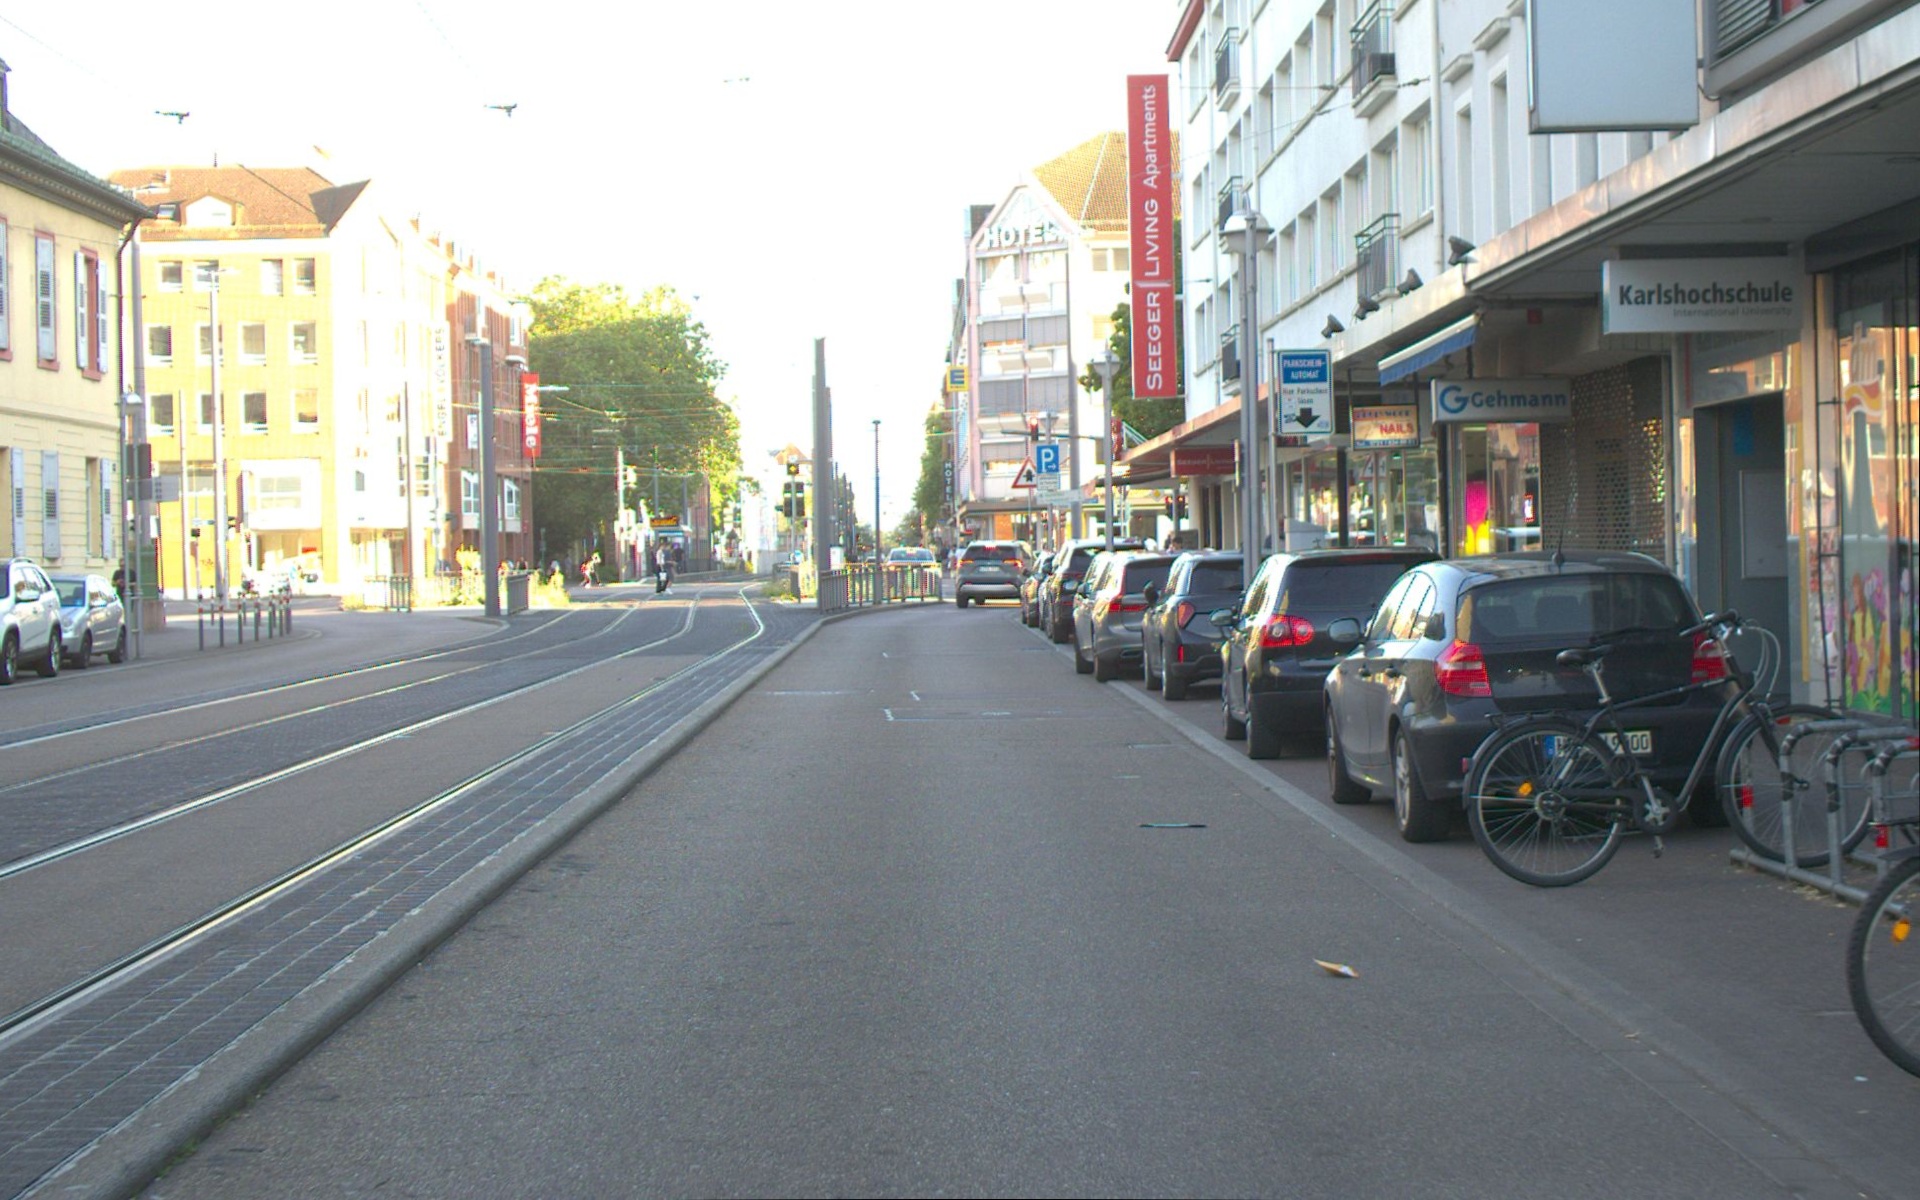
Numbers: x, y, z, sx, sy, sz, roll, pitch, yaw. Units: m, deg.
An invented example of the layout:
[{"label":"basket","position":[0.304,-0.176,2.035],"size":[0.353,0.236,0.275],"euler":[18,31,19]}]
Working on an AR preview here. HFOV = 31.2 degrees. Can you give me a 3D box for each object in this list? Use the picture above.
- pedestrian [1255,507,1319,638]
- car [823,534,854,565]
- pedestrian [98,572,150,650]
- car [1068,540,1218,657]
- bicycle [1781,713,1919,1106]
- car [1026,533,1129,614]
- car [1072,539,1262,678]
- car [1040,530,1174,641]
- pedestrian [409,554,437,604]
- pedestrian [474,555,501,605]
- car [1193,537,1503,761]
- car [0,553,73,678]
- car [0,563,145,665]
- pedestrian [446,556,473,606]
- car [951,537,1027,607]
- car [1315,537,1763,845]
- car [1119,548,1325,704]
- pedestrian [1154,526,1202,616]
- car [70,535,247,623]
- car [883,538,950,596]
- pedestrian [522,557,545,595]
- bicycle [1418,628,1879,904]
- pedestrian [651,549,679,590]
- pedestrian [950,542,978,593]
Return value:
[{"label":"pedestrian","position":[4.777,-0.400,50.263],"size":[0.774,1.874,0.935],"euler":[-2,0,-2]},{"label":"car","position":[-8.034,-3.350,227.829],"size":[1.955,2.007,4.000],"euler":[1,0,-1]},{"label":"pedestrian","position":[-16.577,0.219,68.190],"size":[0.799,1.536,0.877],"euler":[1,0,1]},{"label":"car","position":[2.478,-0.053,47.457],"size":[1.781,1.517,4.357],"euler":[1,1,-1]},{"label":"bicycle","position":[3.198,0.771,9.235],"size":[1.794,0.969,0.576],"euler":[-3,1,-3]},{"label":"car","position":[2.108,-0.483,62.530],"size":[1.651,1.416,4.191],"euler":[1,0,-1]},{"label":"car","position":[2.374,0.075,40.573],"size":[1.791,1.528,4.857],"euler":[1,0,-2]},{"label":"car","position":[2.331,-0.243,55.483],"size":[1.856,1.695,4.418],"euler":[1,0,-1]},{"label":"pedestrian","position":[-14.856,-0.577,95.117],"size":[0.663,1.370,0.652],"euler":[-1,1,-3]},{"label":"pedestrian","position":[-13.142,-0.568,95.688],"size":[0.663,1.370,0.652],"euler":[-1,1,-3]},{"label":"car","position":[2.782,0.317,25.443],"size":[1.765,1.508,4.072],"euler":[1,0,-1]},{"label":"car","position":[-13.923,0.174,48.283],"size":[1.886,1.655,4.762],"euler":[1,1,-3]},{"label":"car","position":[-14.092,0.196,53.893],"size":[1.748,1.469,4.000],"euler":[1,1,-1]},{"label":"pedestrian","position":[-13.896,-0.517,95.413],"size":[0.663,1.370,0.652],"euler":[-1,1,-3]},{"label":"car","position":[0.729,-0.679,86.836],"size":[1.835,1.630,4.090],"euler":[-2,-1,0]},{"label":"car","position":[2.978,0.421,18.459],"size":[1.654,1.458,4.023],"euler":[1,0,-1]},{"label":"car","position":[2.609,0.237,34.971],"size":[1.726,1.476,4.000],"euler":[1,0,-1]},{"label":"pedestrian","position":[3.852,-0.515,60.817],"size":[0.733,1.568,0.967],"euler":[-1,1,-1]},{"label":"car","position":[-19.281,-0.517,82.695],"size":[3.986,2.007,2.001],"euler":[-2,1,-17]},{"label":"car","position":[-1.385,-1.051,110.542],"size":[1.993,1.590,4.000],"euler":[-5,-1,-1]},{"label":"pedestrian","position":[-22.770,-1.286,183.549],"size":[1.093,2.007,1.163],"euler":[1,0,-3]},{"label":"bicycle","position":[2.995,0.710,15.039],"size":[1.839,1.106,0.642],"euler":[-2,0,-4]},{"label":"pedestrian","position":[-10.095,-1.049,117.582],"size":[0.903,1.370,0.854],"euler":[-1,1,-3]},{"label":"pedestrian","position":[0.135,-1.091,116.058],"size":[0.874,1.700,0.700],"euler":[1,0,2]}]
